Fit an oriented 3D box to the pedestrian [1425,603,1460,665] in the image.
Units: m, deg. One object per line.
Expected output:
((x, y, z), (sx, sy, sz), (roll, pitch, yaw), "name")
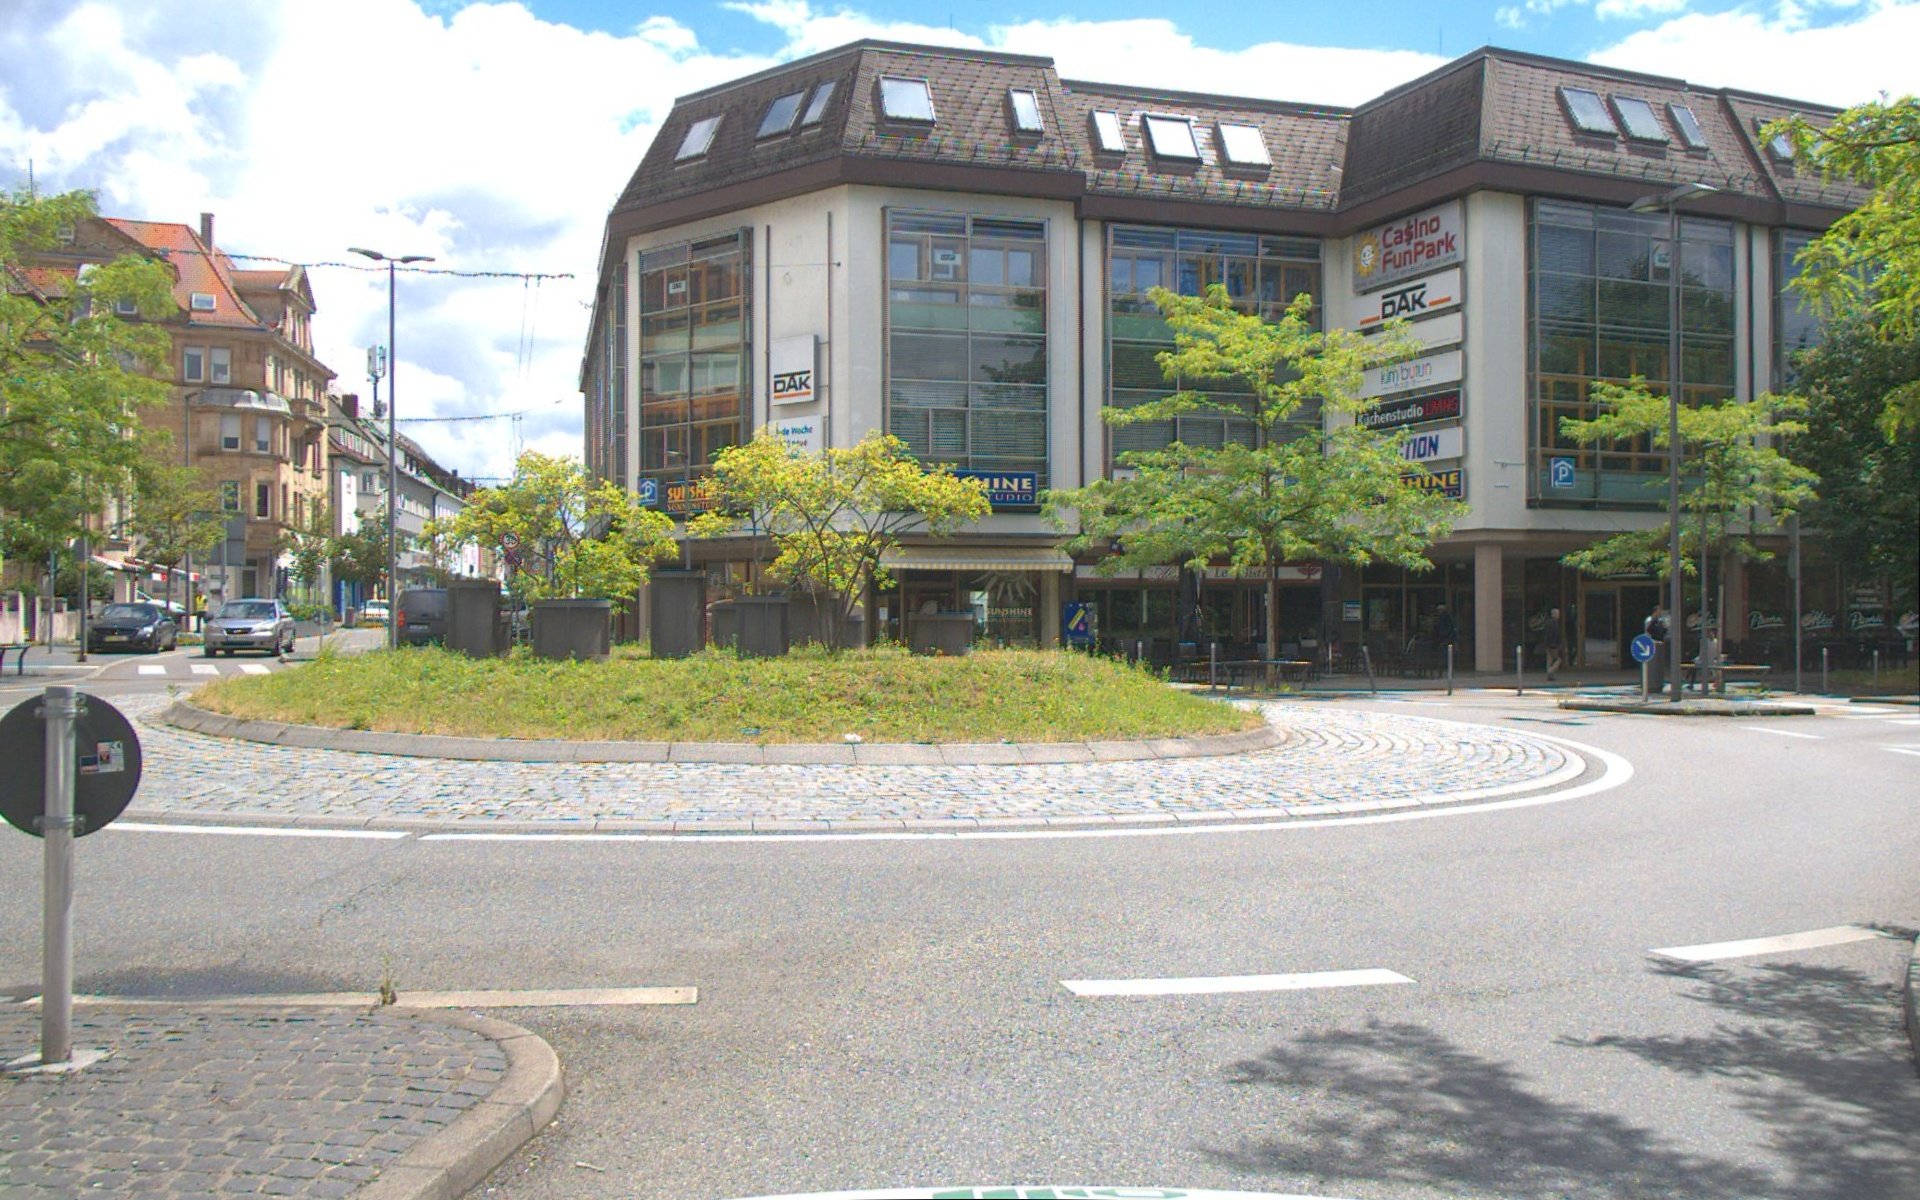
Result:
((13.318, 0.930, 45.683), (0.687, 1.704, 0.612), (1, -1, -25), "pedestrian")

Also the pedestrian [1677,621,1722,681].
((16.244, 1.116, 36.329), (0.604, 1.307, 0.696), (1, 0, -12), "pedestrian")

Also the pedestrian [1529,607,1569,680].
((13.887, 1.025, 39.016), (0.690, 1.704, 0.609), (1, -1, -38), "pedestrian")

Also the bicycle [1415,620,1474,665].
((13.336, 1.159, 45.537), (1.506, 1.188, 0.496), (1, -2, 19), "bicycle")

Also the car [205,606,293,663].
((-18.408, 0.865, 42.959), (1.683, 1.378, 3.981), (1, 0, -17), "car")

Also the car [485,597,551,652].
((-14.895, 0.794, 55.919), (1.791, 1.761, 4.222), (-1, 0, -10), "car")

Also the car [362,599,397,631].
((-32.573, 0.836, 92.874), (1.683, 1.742, 3.981), (1, 0, -17), "car")

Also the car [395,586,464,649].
((-15.857, 0.520, 49.312), (1.797, 1.737, 4.414), (2, -1, -20), "car")

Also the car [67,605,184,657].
((-22.111, 0.785, 43.990), (1.680, 1.267, 4.397), (1, 0, -12), "car")

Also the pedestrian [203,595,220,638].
((-30.308, 0.654, 66.999), (0.542, 1.715, 0.514), (1, 0, -17), "pedestrian")

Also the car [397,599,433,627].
((-28.466, 0.649, 86.446), (1.683, 1.378, 3.981), (1, 0, -17), "car")

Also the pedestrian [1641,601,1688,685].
((15.914, 0.957, 37.377), (0.606, 1.850, 0.694), (-3, 1, -19), "pedestrian")
